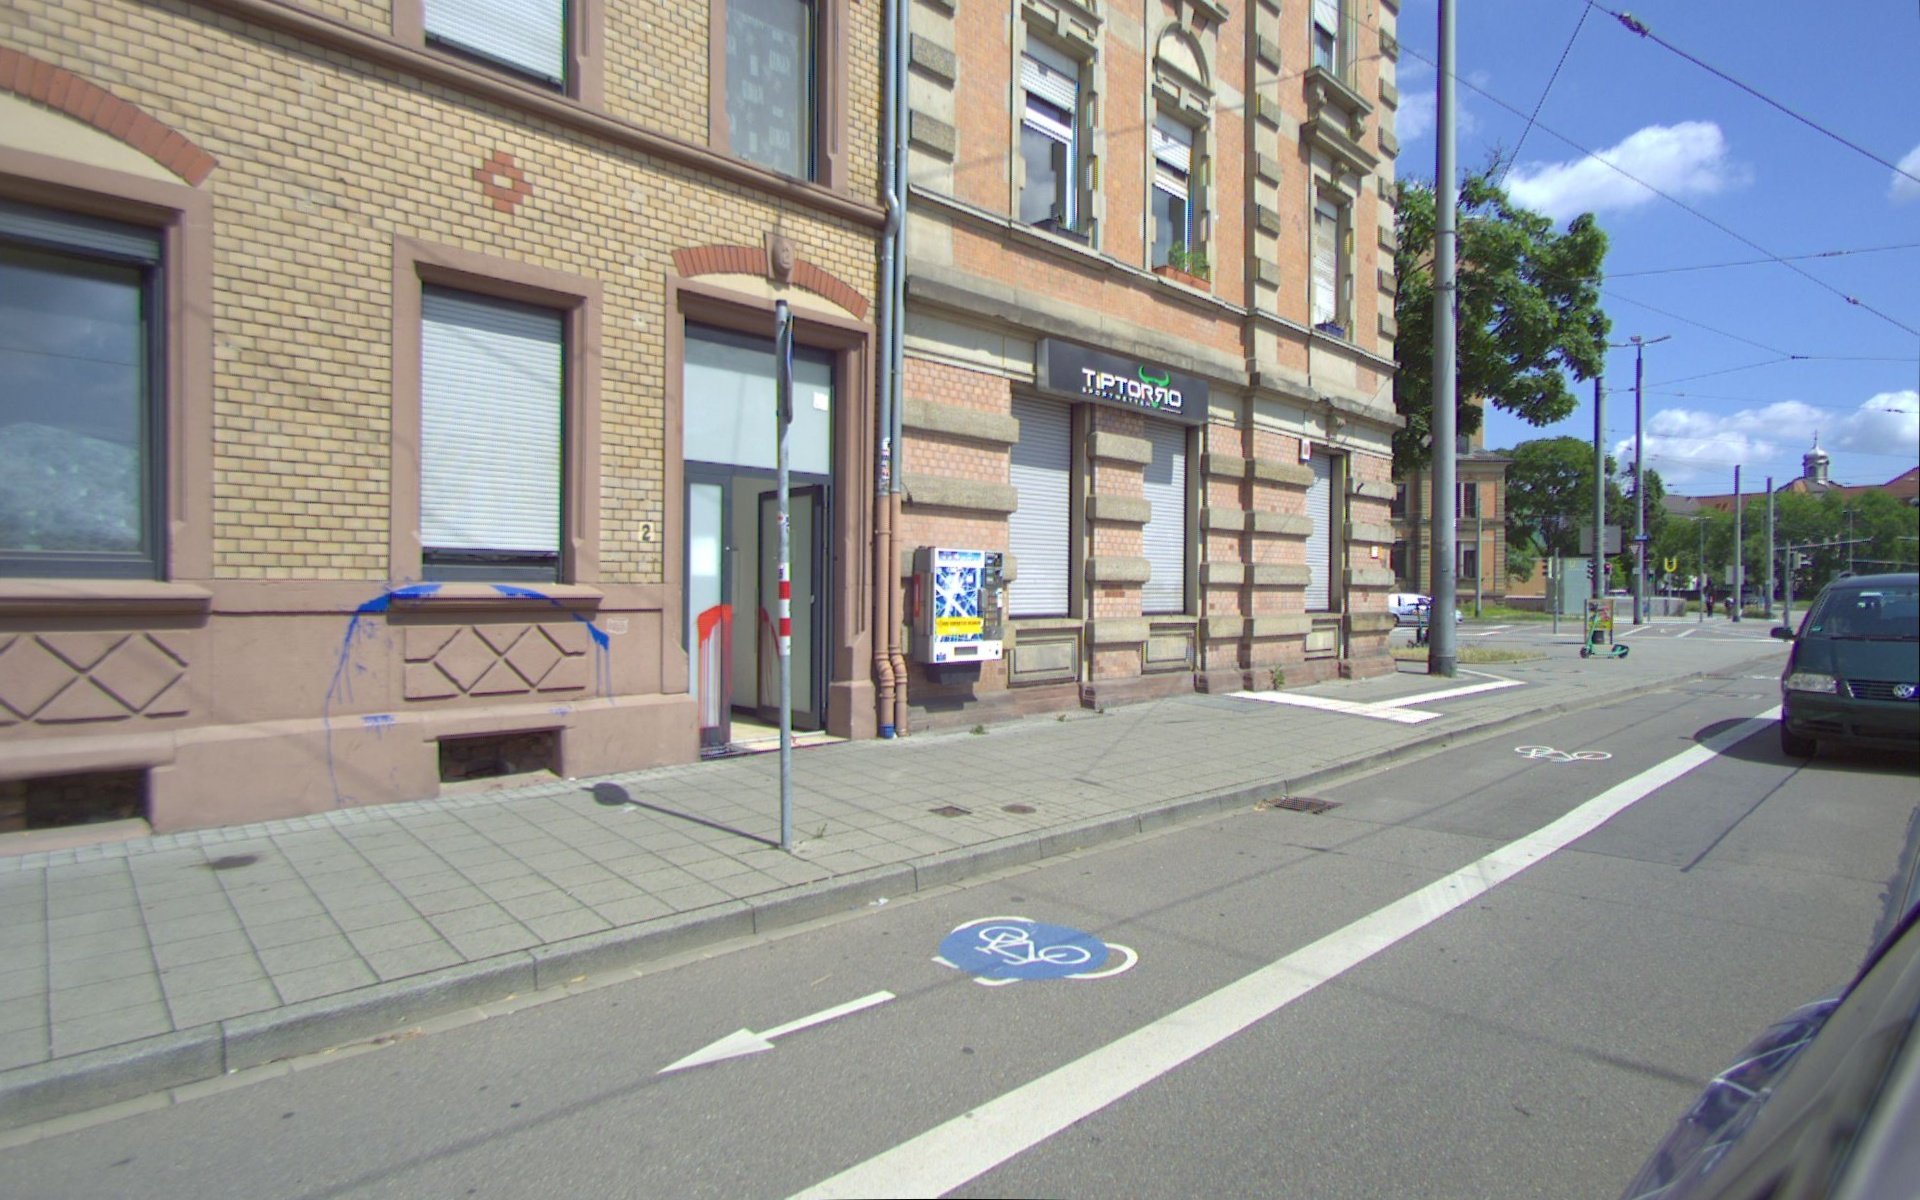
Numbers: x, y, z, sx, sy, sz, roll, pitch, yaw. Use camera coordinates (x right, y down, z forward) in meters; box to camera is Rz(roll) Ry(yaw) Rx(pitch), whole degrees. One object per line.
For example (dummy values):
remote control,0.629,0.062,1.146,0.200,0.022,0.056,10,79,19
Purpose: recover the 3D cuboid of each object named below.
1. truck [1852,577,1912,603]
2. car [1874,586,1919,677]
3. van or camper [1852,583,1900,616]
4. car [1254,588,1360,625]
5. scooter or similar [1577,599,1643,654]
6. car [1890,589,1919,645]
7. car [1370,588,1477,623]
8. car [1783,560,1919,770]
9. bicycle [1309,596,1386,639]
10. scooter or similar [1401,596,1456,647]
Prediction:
truck,113.390,-1.263,124.572,3.325,3.036,8.649,1,1,28
car,19.103,0.553,19.647,1.868,1.637,4.357,-2,-1,44
van or camper,78.085,-0.040,86.377,2.218,2.770,5.454,1,0,34
car,16.089,0.278,47.099,4.354,1.570,1.870,1,3,10
scooter or similar,14.916,0.590,23.216,1.066,1.194,0.950,0,2,-37
car,27.655,0.461,28.509,1.865,1.504,4.364,1,1,39
car,22.480,0.244,49.218,4.353,1.607,1.870,0,1,9
car,9.400,0.525,9.737,4.017,1.739,1.816,0,1,-44
bicycle,10.633,0.461,27.749,2.224,1.095,1.026,-1,2,-41
scooter or similar,12.100,0.531,26.125,0.946,1.218,1.370,2,2,40
